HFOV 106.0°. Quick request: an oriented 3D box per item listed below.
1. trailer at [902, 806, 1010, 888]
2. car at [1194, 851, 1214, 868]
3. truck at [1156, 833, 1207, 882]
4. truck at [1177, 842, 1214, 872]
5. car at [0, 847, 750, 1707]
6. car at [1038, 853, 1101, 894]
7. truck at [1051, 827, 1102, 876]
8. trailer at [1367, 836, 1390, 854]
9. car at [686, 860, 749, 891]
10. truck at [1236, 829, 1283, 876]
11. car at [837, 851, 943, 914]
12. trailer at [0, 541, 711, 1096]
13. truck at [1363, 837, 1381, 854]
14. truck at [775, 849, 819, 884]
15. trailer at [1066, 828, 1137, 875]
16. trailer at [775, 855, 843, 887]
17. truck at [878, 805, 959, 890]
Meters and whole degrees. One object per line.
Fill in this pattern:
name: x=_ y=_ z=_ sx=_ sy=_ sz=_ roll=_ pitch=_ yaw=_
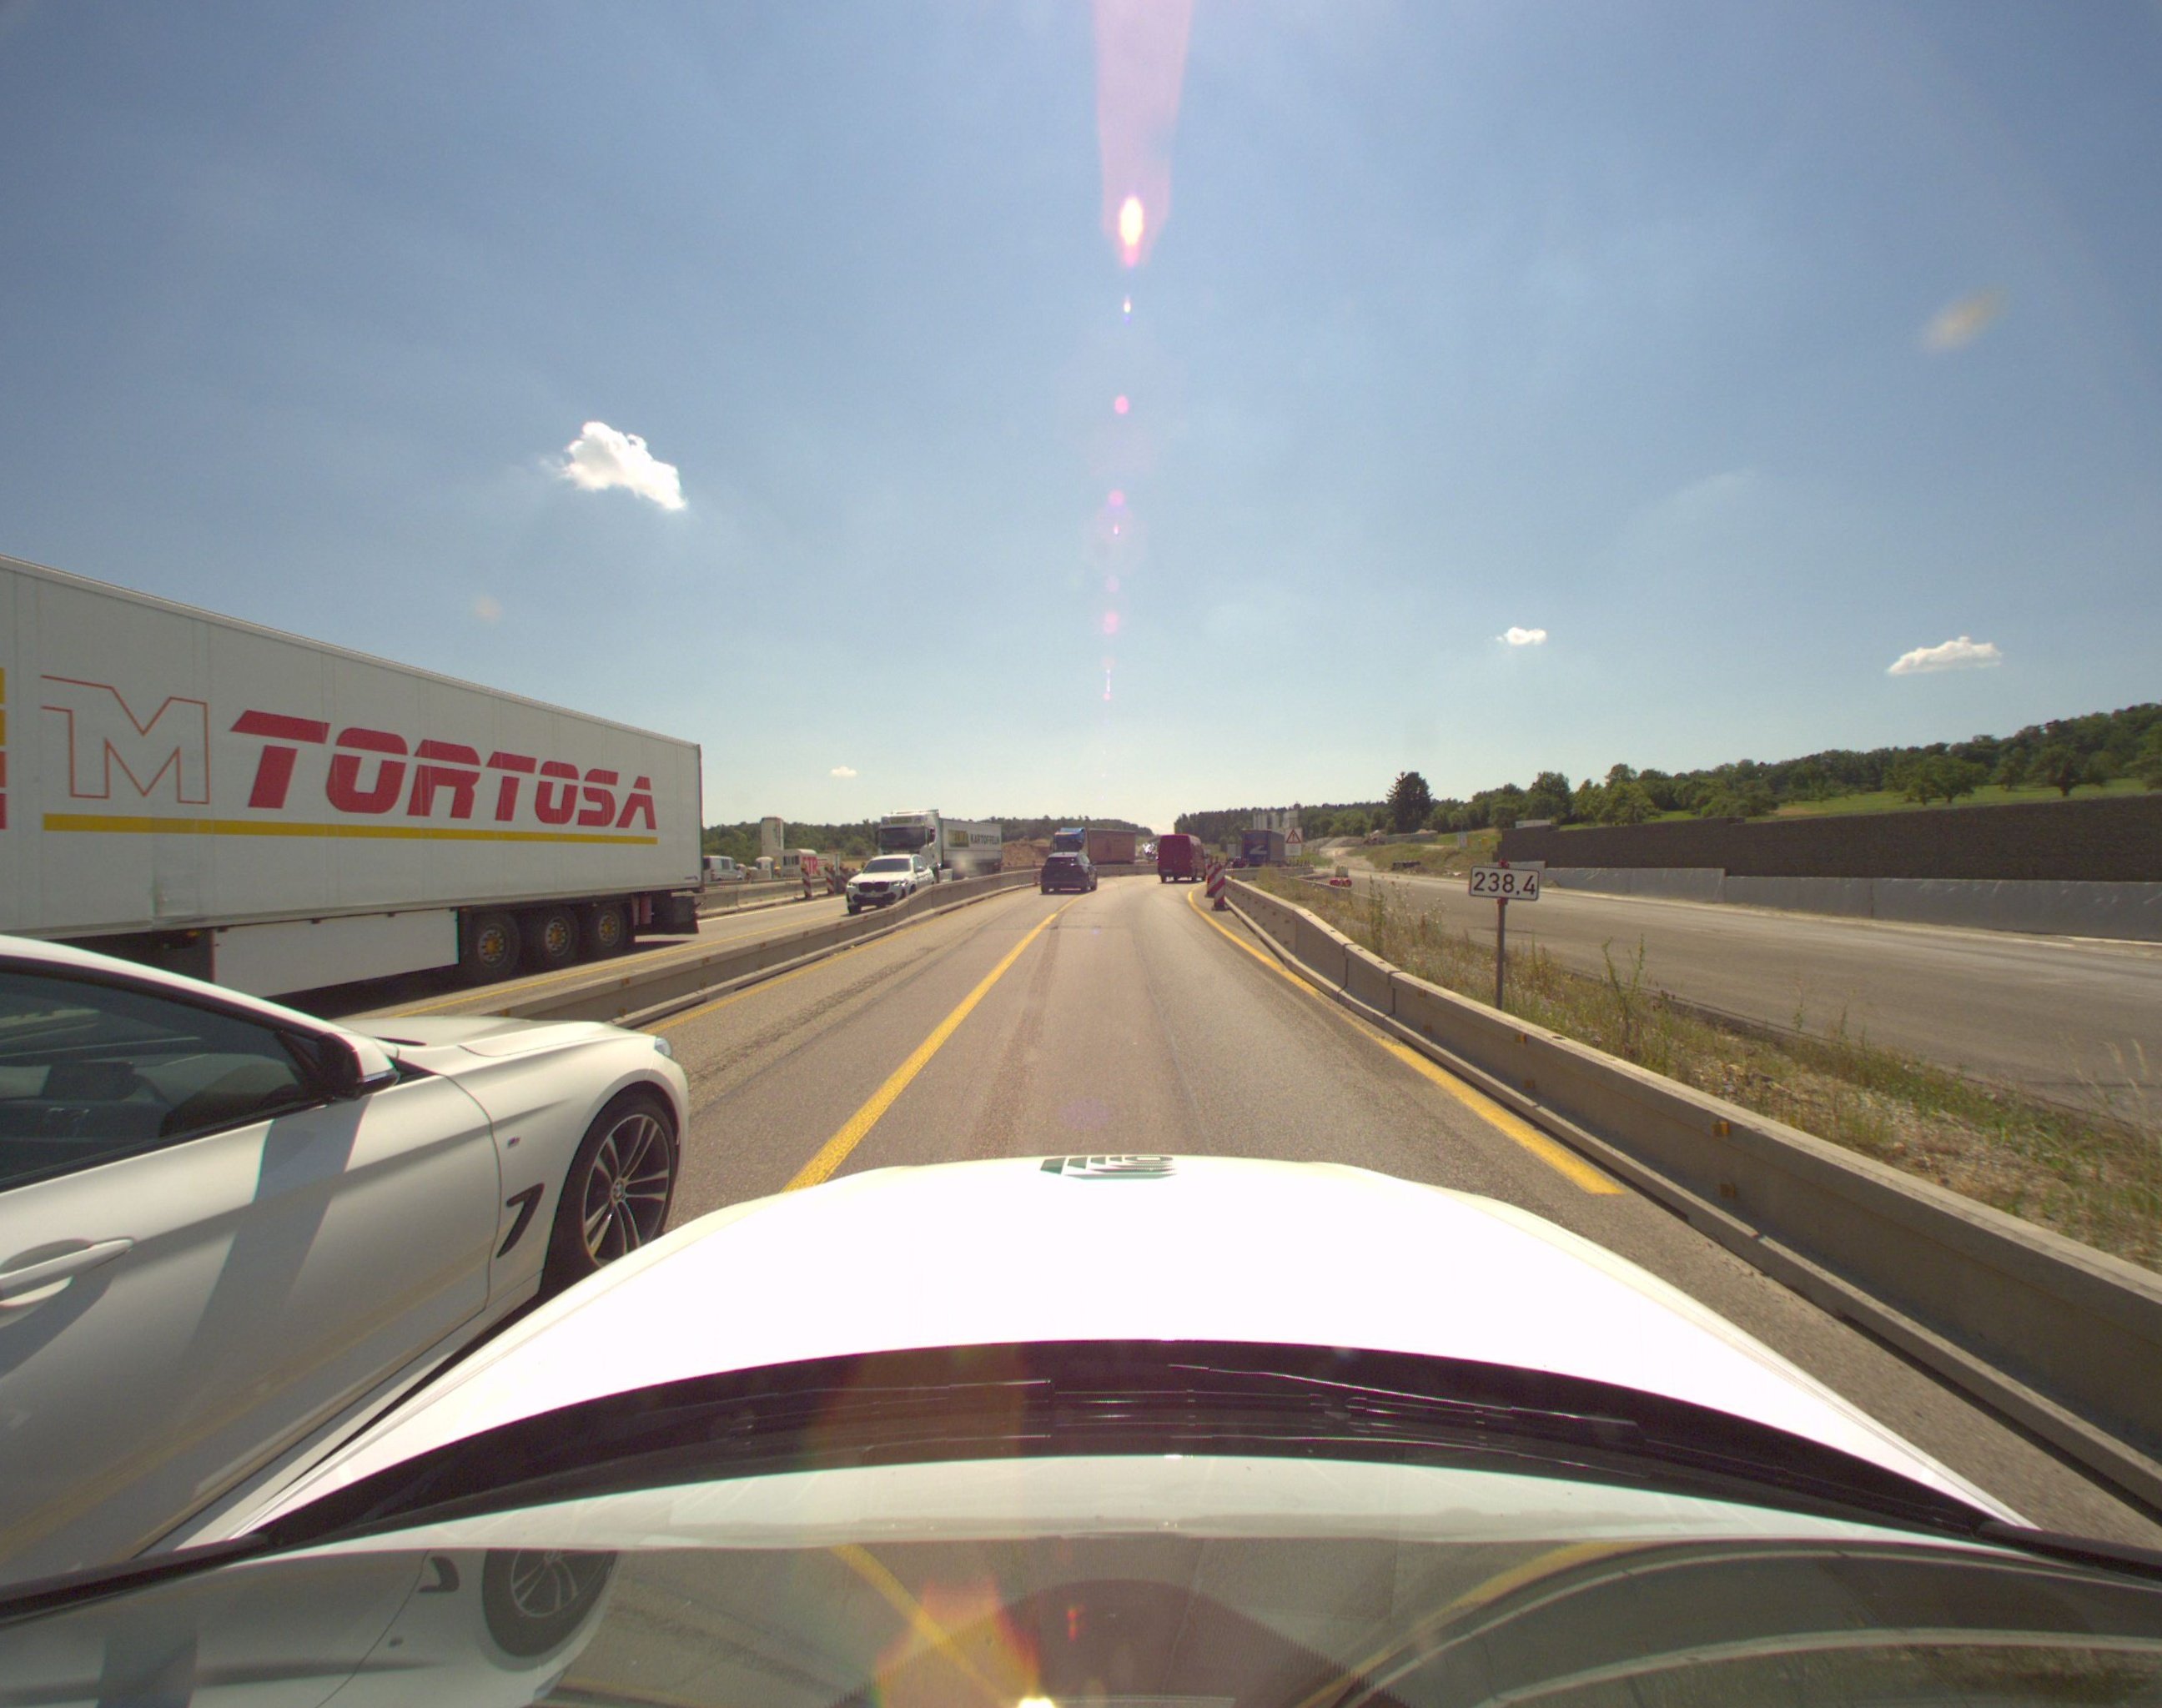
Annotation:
trailer: x=-6.995 y=-0.334 z=48.016 sx=2.339 sy=4.152 sz=12.533 roll=0 pitch=0 yaw=10
car: x=11.473 y=0.511 z=76.218 sx=1.791 sy=1.579 sz=4.010 roll=0 pitch=0 yaw=9
truck: x=5.881 y=0.197 z=46.946 sx=2.096 sy=2.633 sz=6.509 roll=0 pitch=0 yaw=15
truck: x=13.559 y=0.347 z=95.863 sx=2.556 sy=3.381 sz=6.965 roll=-1 pitch=0 yaw=23
car: x=-2.551 y=0.765 z=1.397 sx=1.788 sy=1.534 sz=5.074 roll=0 pitch=0 yaw=1
car: x=-0.408 y=0.736 z=32.657 sx=1.784 sy=1.534 sz=3.942 roll=0 pitch=0 yaw=10
truck: x=-0.326 y=-0.220 z=71.080 sx=2.522 sy=4.081 sz=5.574 roll=-1 pitch=0 yaw=21
trailer: x=71.604 y=-2.167 z=196.145 sx=2.752 sy=4.114 sz=6.732 roll=0 pitch=0 yaw=-5
car: x=-25.760 y=1.484 z=57.947 sx=2.199 sy=2.016 sz=5.108 roll=0 pitch=0 yaw=-1
truck: x=16.881 y=-0.147 z=76.497 sx=2.989 sy=4.153 sz=8.315 roll=-1 pitch=0 yaw=21
car: x=-5.695 y=0.812 z=24.894 sx=1.985 sy=1.739 sz=4.496 roll=0 pitch=0 yaw=3
trailer: x=-9.259 y=-0.284 z=10.350 sx=2.805 sy=4.094 sz=13.127 roll=0 pitch=0 yaw=1
truck: x=71.285 y=-2.149 z=199.584 sx=2.741 sy=4.096 sz=4.092 roll=0 pitch=0 yaw=-6
truck: x=-25.624 y=1.135 z=73.724 sx=2.332 sy=3.043 sz=4.267 roll=0 pitch=0 yaw=2
trailer: x=2.241 y=-0.219 z=77.884 sx=2.565 sy=4.152 sz=13.132 roll=-1 pitch=0 yaw=21
trailer: x=-26.190 y=1.607 z=78.692 sx=5.543 sy=2.997 sz=2.884 roll=0 pitch=0 yaw=1
truck: x=-8.052 y=-0.301 z=40.928 sx=2.434 sy=4.008 sz=5.089 roll=0 pitch=0 yaw=8
